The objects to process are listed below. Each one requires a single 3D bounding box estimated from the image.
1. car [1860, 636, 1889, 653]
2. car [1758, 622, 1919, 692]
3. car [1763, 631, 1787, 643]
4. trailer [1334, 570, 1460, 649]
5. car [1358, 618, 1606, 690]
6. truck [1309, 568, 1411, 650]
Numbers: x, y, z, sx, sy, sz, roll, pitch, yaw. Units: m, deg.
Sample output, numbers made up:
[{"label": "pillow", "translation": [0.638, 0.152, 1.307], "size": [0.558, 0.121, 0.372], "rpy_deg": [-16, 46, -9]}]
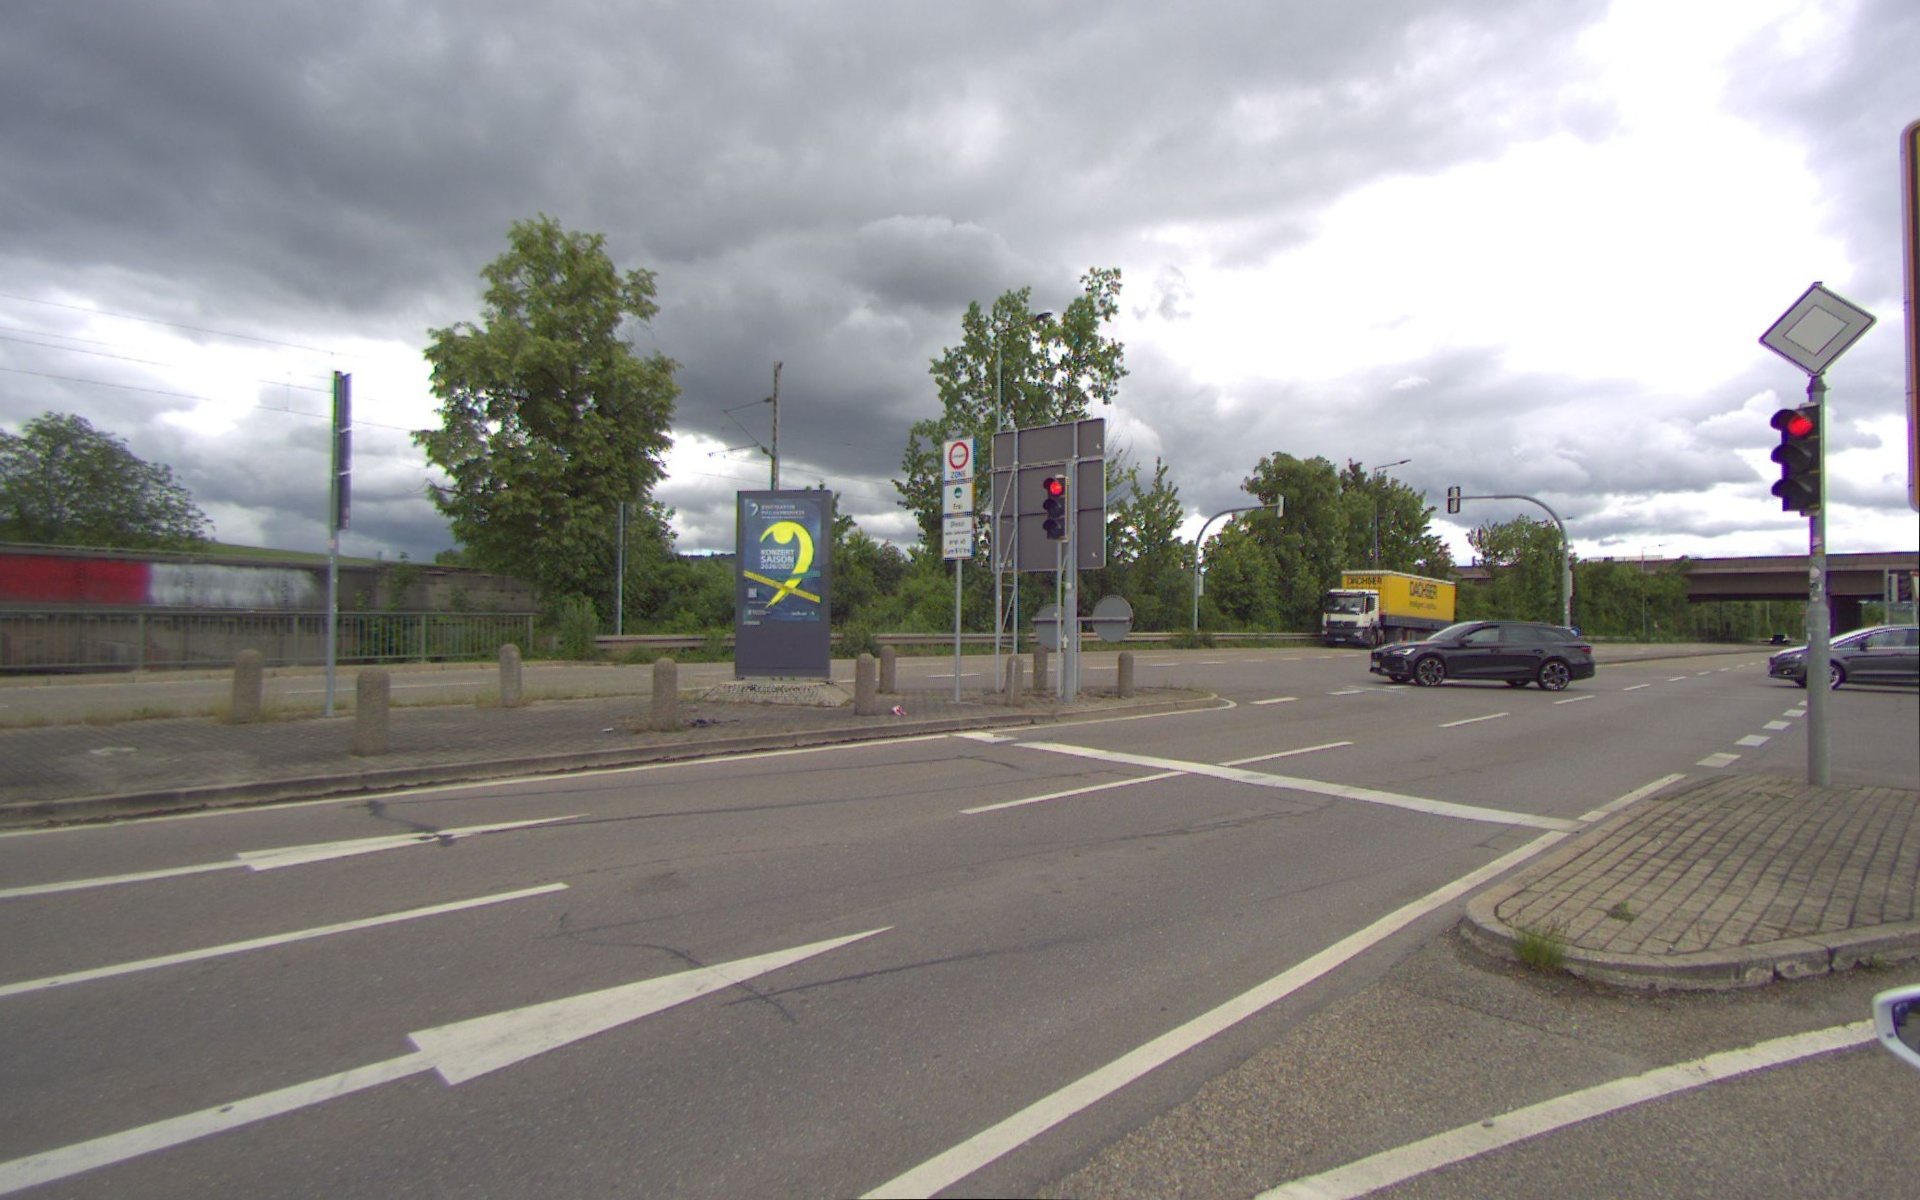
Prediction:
[{"label": "car", "translation": [90.019, 4.349, 98.841], "size": [1.973, 1.461, 4.086], "rpy_deg": [1, -2, 44]}, {"label": "car", "translation": [22.845, 1.384, 24.866], "size": [4.612, 1.592, 1.951], "rpy_deg": [0, 0, 32]}, {"label": "car", "translation": [113.300, 5.074, 139.648], "size": [3.837, 1.402, 1.846], "rpy_deg": [-1, 4, -41]}, {"label": "trailer", "translation": [25.644, 0.544, 58.514], "size": [2.841, 4.139, 11.357], "rpy_deg": [3, 1, 44]}, {"label": "car", "translation": [11.570, 1.169, 22.540], "size": [4.527, 1.477, 1.956], "rpy_deg": [0, 0, 4]}, {"label": "truck", "translation": [21.743, 0.452, 54.427], "size": [2.841, 4.139, 6.448], "rpy_deg": [3, 1, 44]}]
